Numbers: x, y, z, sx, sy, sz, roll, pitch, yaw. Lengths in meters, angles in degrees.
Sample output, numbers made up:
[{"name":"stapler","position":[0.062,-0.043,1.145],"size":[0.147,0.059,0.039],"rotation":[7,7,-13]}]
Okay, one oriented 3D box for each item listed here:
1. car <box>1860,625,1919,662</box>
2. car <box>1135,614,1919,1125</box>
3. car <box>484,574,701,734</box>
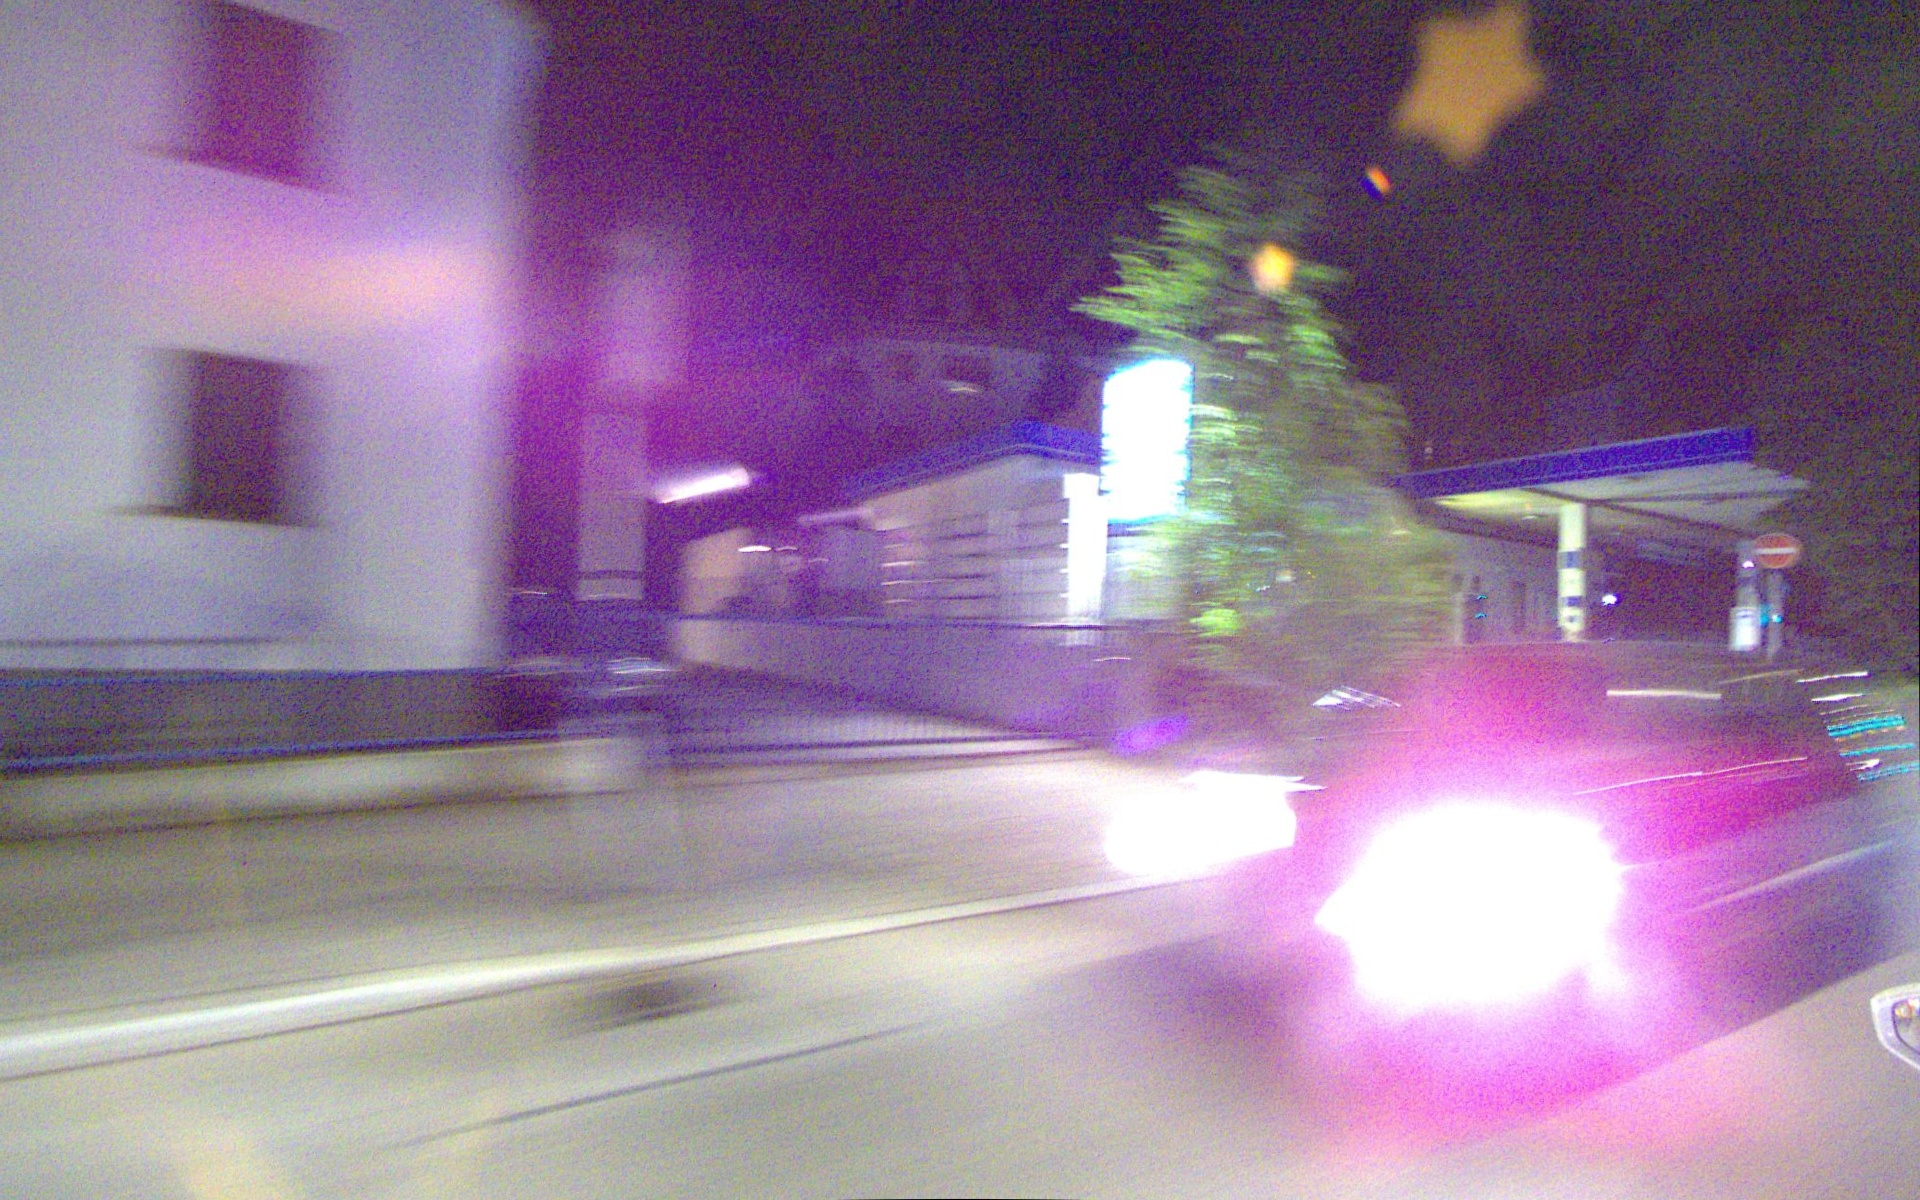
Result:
[{"name":"car","position":[39.609,1.806,41.635],"size":[1.758,1.472,3.268],"rotation":[2,-1,3]},{"name":"car","position":[2.790,0.804,4.553],"size":[3.827,1.441,1.637],"rotation":[1,-1,-32]},{"name":"car","position":[-4.500,0.534,11.877],"size":[1.849,1.525,4.209],"rotation":[2,-1,-28]}]
